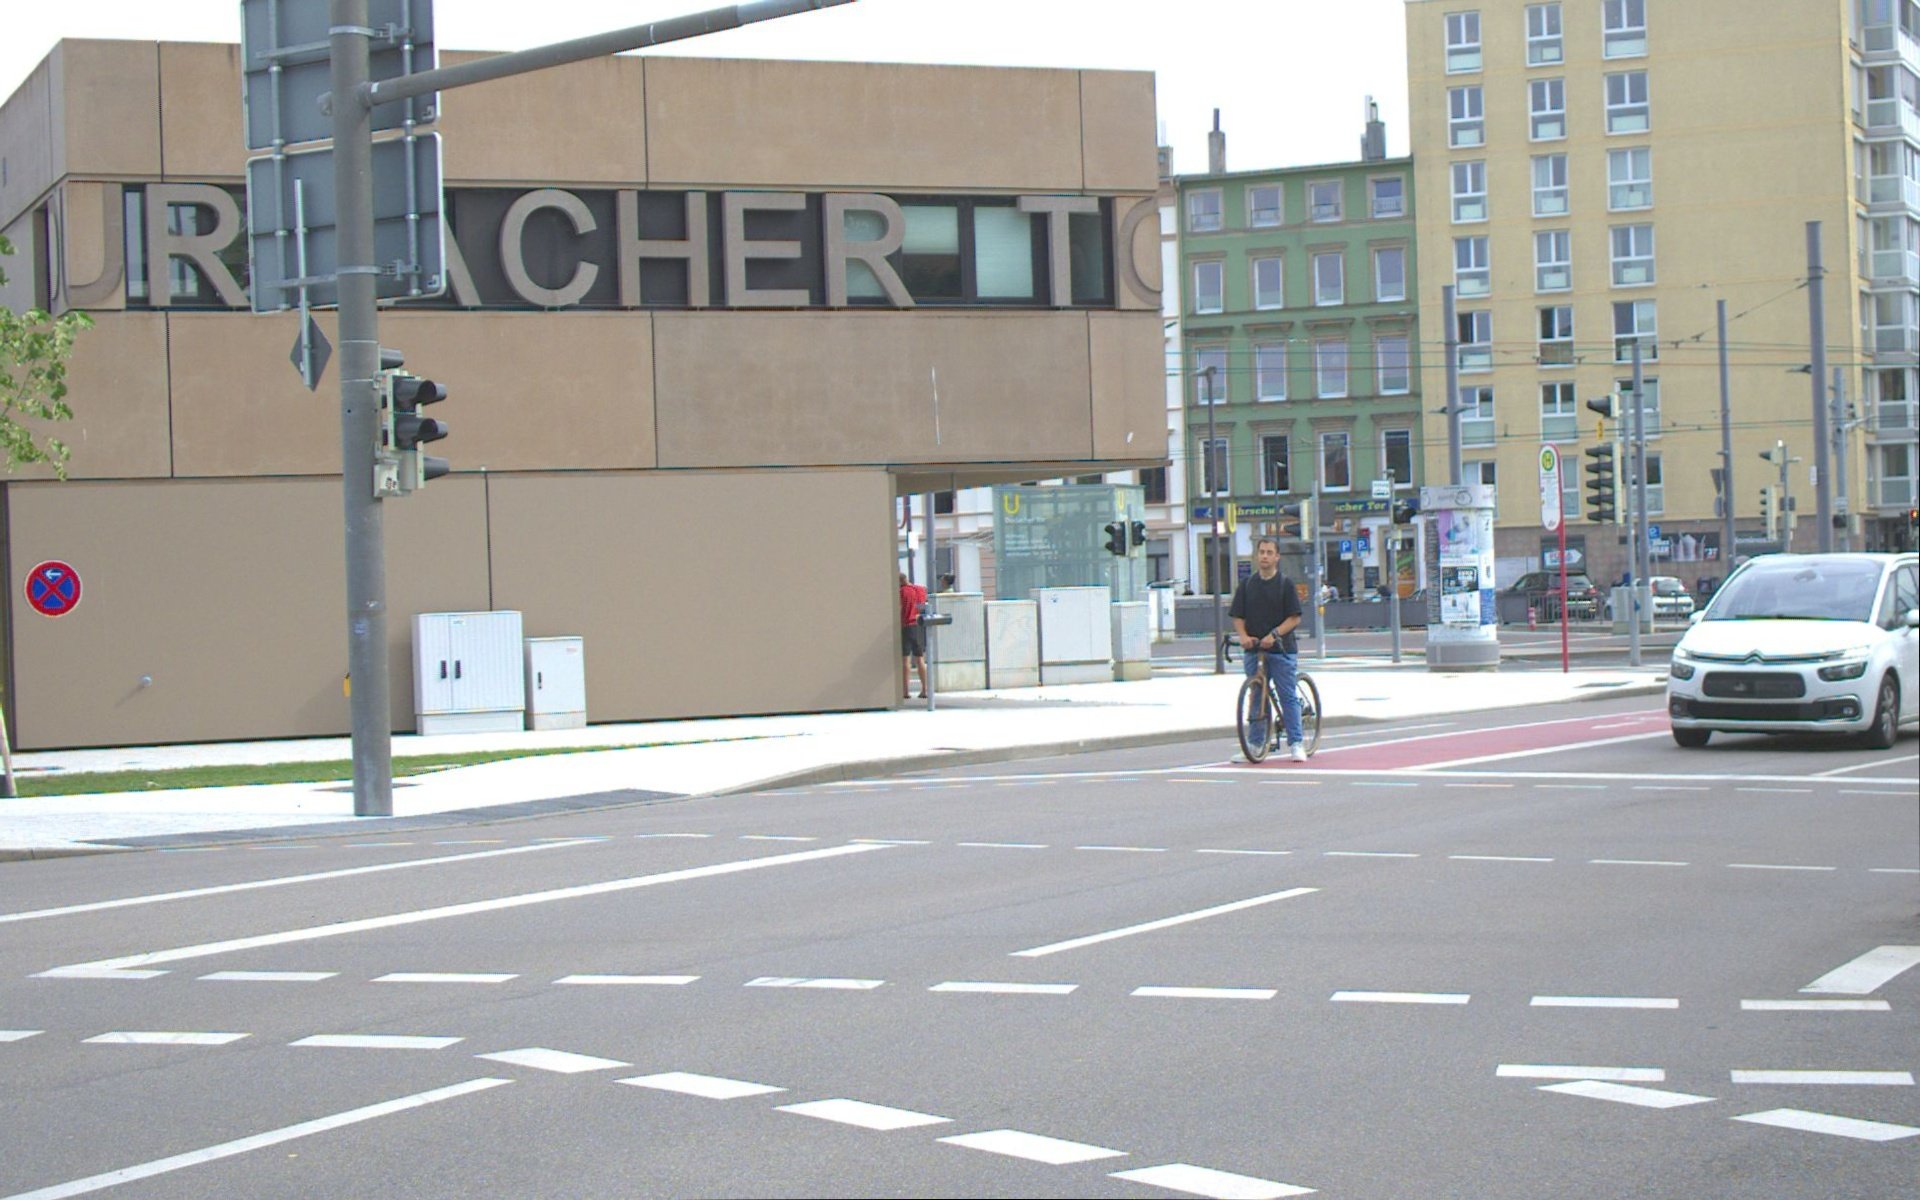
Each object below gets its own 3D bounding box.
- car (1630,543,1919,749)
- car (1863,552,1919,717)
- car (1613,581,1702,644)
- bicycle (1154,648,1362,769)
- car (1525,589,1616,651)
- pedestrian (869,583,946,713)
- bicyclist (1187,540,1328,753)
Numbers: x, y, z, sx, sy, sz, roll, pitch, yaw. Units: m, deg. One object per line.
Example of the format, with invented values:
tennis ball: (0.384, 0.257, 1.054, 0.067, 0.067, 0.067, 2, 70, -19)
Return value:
car: (7.451, 0.356, 29.767, 1.997, 1.645, 4.283, 0, 0, 29)
car: (10.989, 0.345, 35.891, 1.997, 1.645, 4.283, 0, 0, 29)
car: (22.739, 0.381, 112.040, 1.996, 2.007, 3.995, 0, 0, 24)
bicycle: (2.411, 0.846, 27.470, 0.863, 0.873, 2.515, 0, 0, 24)
car: (20.061, 0.641, 112.863, 1.996, 2.007, 3.995, 0, 0, 24)
pedestrian: (-0.718, 0.656, 46.859, 0.809, 1.727, 0.780, -2, -1, -16)
bicyclist: (2.376, 0.358, 27.402, 0.868, 1.663, 0.880, 0, 0, 24)
